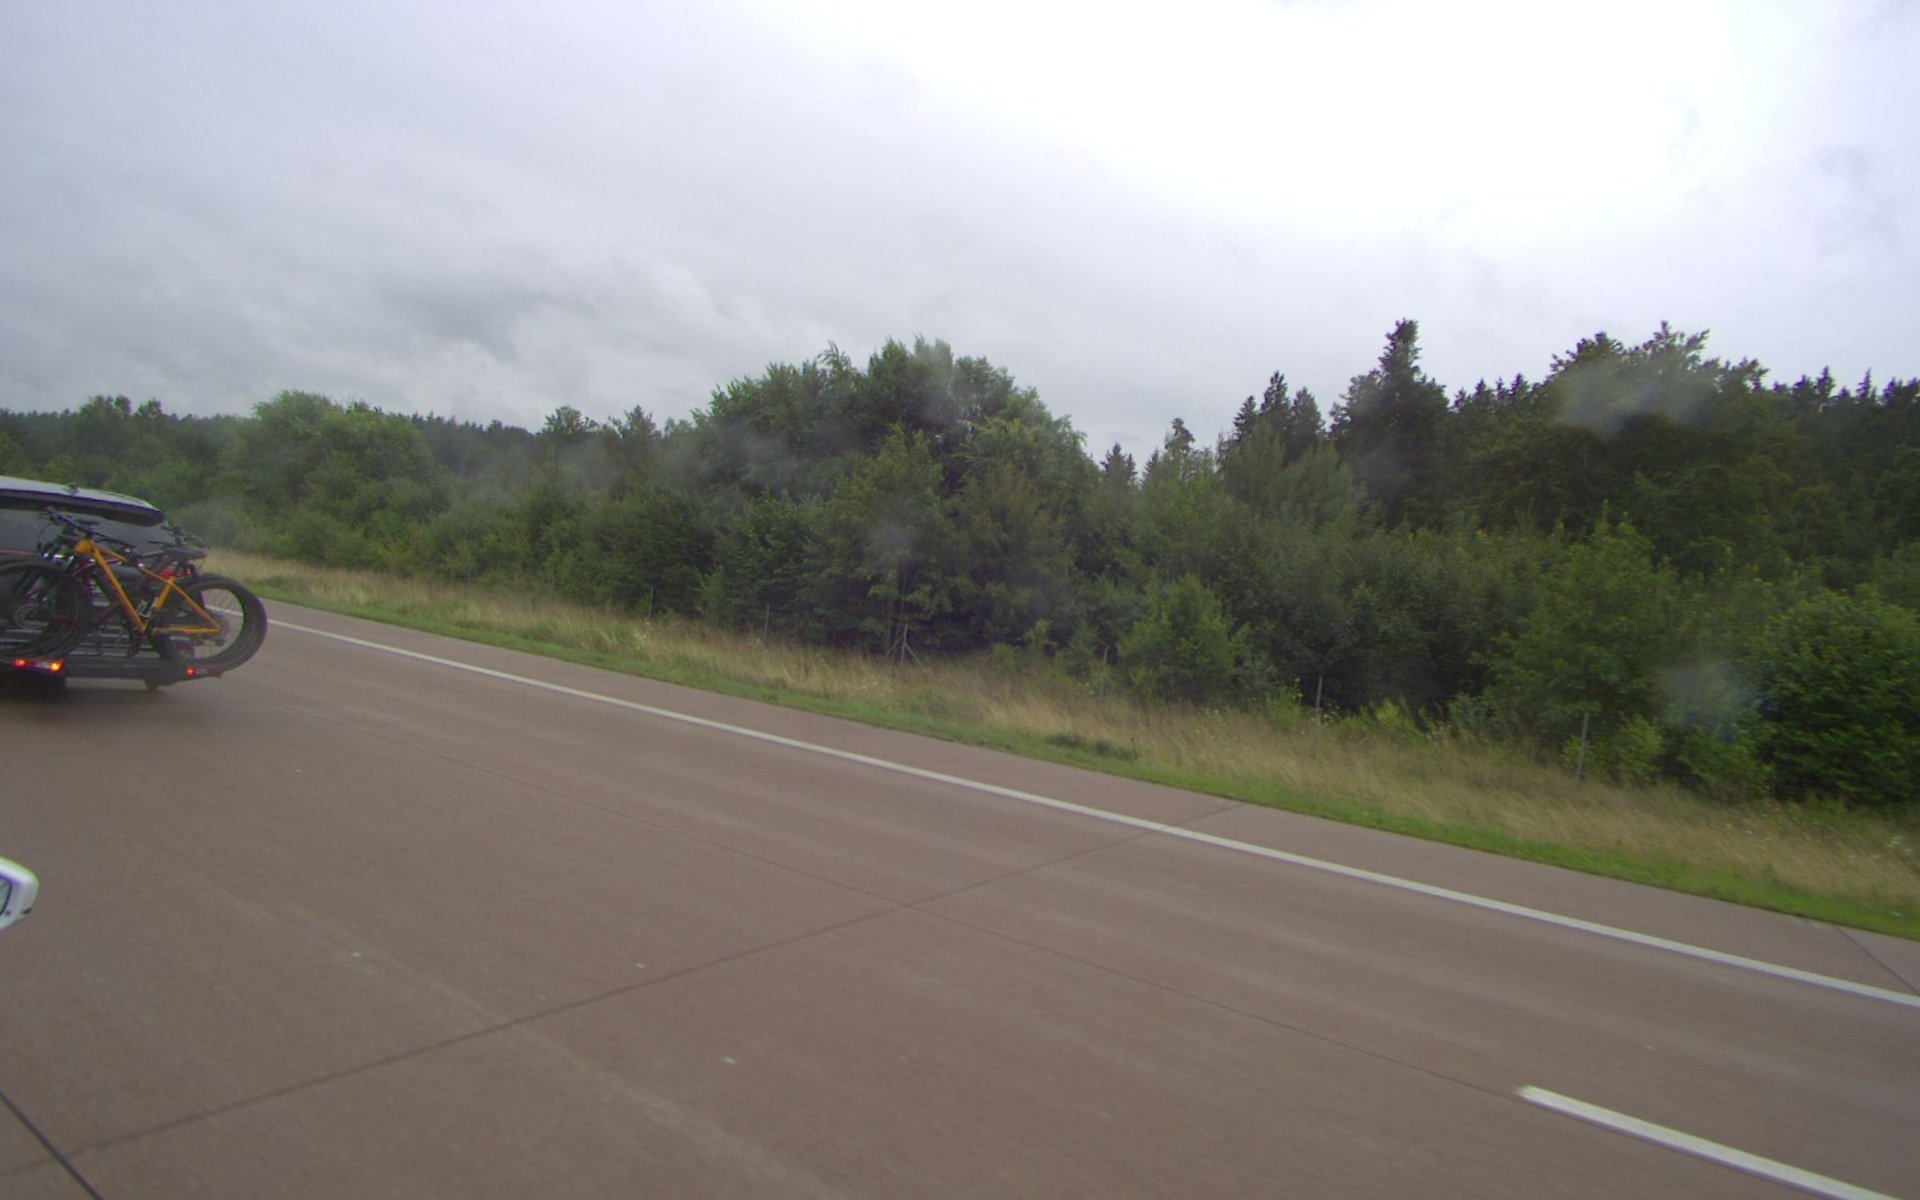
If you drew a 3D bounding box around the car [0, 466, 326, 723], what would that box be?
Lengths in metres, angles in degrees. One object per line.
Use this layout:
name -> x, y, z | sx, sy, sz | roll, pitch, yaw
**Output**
car -> -7.997, -0.193, 8.585 | 5.725, 1.611, 1.997 | 6, -2, 32
